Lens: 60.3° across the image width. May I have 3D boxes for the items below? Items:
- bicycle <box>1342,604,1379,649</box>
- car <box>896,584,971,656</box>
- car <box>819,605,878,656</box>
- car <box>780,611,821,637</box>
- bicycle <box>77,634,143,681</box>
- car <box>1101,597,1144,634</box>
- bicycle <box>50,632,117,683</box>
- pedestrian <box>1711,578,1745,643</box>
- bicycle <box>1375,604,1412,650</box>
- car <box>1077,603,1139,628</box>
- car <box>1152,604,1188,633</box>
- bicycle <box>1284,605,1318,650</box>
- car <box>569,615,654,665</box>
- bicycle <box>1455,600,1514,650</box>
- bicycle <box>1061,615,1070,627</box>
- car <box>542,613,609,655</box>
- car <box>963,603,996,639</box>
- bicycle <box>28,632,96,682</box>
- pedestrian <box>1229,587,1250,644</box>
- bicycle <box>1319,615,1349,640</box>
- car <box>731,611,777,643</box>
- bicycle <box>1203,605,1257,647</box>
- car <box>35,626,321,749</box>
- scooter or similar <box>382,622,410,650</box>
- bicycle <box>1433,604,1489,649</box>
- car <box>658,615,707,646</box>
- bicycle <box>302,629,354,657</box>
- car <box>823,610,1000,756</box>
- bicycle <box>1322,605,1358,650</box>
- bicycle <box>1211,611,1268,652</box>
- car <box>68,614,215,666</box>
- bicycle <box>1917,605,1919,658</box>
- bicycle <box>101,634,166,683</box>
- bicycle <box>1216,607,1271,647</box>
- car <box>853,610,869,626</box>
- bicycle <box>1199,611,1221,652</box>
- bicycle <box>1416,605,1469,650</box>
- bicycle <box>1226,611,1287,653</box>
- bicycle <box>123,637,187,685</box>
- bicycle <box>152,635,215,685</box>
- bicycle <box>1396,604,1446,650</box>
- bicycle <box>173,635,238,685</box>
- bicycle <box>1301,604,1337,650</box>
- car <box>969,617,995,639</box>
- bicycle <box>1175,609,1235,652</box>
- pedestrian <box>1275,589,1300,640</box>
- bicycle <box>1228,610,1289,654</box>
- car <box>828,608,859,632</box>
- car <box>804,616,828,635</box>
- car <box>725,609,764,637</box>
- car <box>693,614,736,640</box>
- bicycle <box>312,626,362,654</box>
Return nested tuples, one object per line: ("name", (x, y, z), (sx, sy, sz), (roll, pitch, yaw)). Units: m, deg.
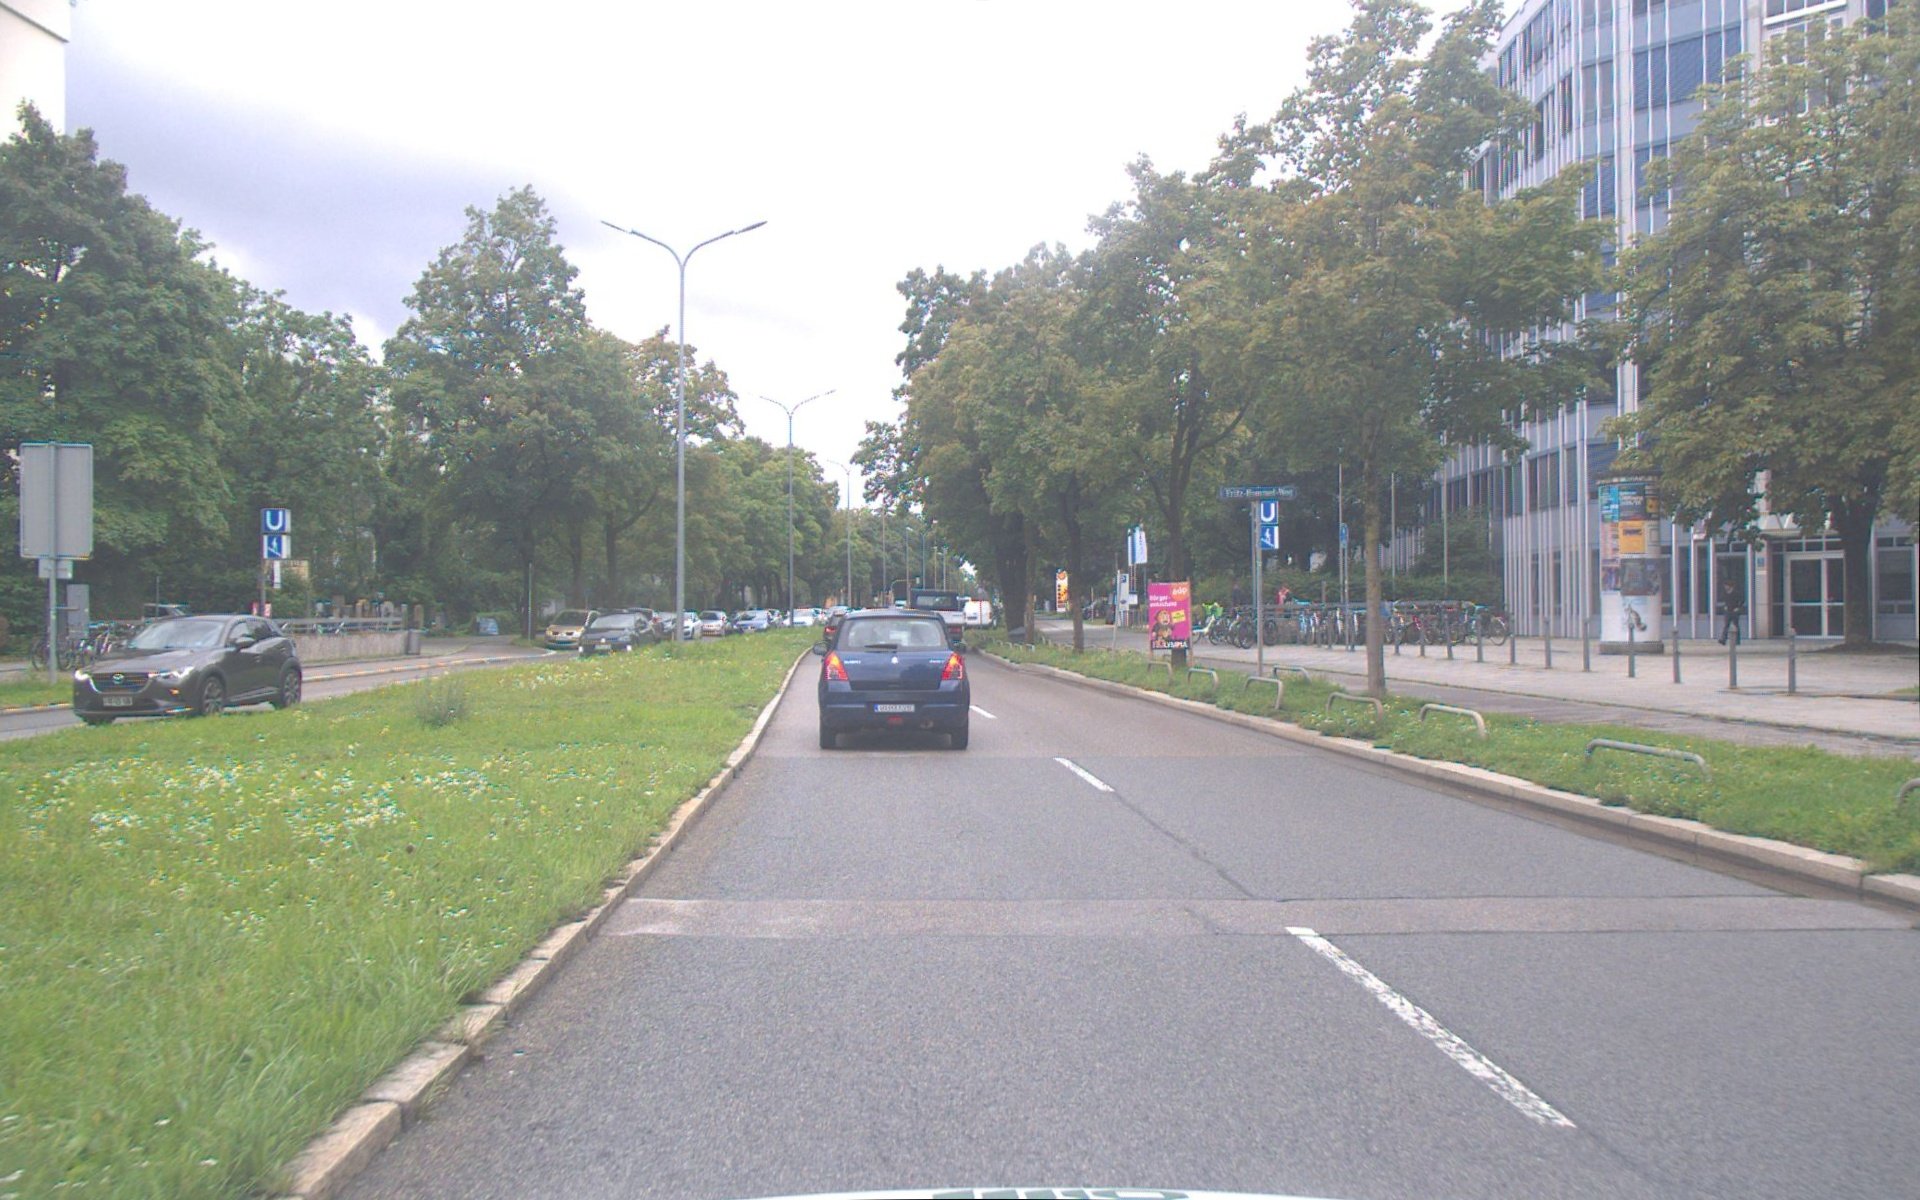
("bicycle", (11.068, 0.721, 45.753), (0.478, 1.210, 1.953), (-1, 0, -2))
("car", (-0.895, 0.724, 60.167), (2.368, 2.487, 5.088), (1, -1, 3))
("car", (-3.576, 0.952, 52.520), (1.764, 1.525, 3.656), (-1, 0, -5))
("car", (-9.430, 1.411, 98.178), (1.876, 1.510, 4.864), (-1, 0, 0))
("bicycle", (-20.287, 1.365, 39.504), (0.399, 1.048, 1.955), (3, 0, 4))
("car", (10.975, 1.060, 112.336), (2.218, 2.347, 6.267), (-1, -1, 0))
("bicycle", (-20.860, 1.351, 39.393), (0.399, 1.123, 1.955), (3, 0, 4))
("pedestrian", (21.636, 0.303, 46.590), (0.672, 1.804, 0.770), (-1, -1, 11))
("bicycle", (11.913, 0.733, 45.493), (0.436, 1.210, 1.953), (-1, 0, -2))
("car", (13.260, 1.412, 148.483), (5.357, 2.120, 2.147), (-1, -1, 0))
("car", (14.293, 1.253, 112.846), (1.804, 1.850, 4.471), (-1, -1, 0))
("bicycle", (9.397, 0.741, 45.628), (0.478, 1.210, 1.953), (-1, 0, -2))
("car", (-10.693, 1.198, 50.997), (1.746, 1.430, 4.101), (-1, 0, -1))
("bicycle", (14.493, 0.683, 45.758), (0.499, 1.317, 2.473), (-1, 0, -9))
("bicycle", (10.135, 2.017, 158.744), (0.733, 1.203, 2.247), (-1, -1, 1))
("car", (-15.451, 1.349, 66.701), (1.613, 1.642, 3.820), (1, 0, 3))
("car", (1.255, 1.333, 105.249), (1.946, 2.195, 5.556), (-1, -1, 2))
("bicycle", (-21.368, 1.349, 39.398), (0.399, 1.116, 1.955), (3, 0, 4))
("pedestrian", (9.652, 0.545, 57.071), (0.637, 1.933, 0.749), (-1, -1, 7))
("bicycle", (14.403, 1.057, 63.735), (0.669, 0.868, 1.833), (-1, 1, -3))
("car", (-9.845, 1.268, 79.185), (1.657, 1.427, 3.967), (-1, 0, 0))
("bicycle", (8.427, 0.803, 51.558), (1.940, 1.127, 0.571), (-6, 3, -44))
("car", (-10.970, 1.170, 23.592), (1.916, 1.506, 4.260), (-1, 0, 2))
("scooter or similar", (-23.336, 1.484, 68.456), (0.426, 1.146, 1.291), (-1, 0, 14))
("bicycle", (13.768, 0.728, 45.506), (0.566, 1.210, 2.137), (-1, 0, -9))
("car", (-14.775, 1.611, 88.298), (1.703, 1.556, 4.476), (1, 0, 2))
("bicycle", (-23.304, 1.584, 60.973), (1.726, 1.024, 0.436), (-1, -1, 1))
("car", (-0.551, 0.886, 19.201), (1.858, 1.525, 3.659), (0, -1, -2))
("bicycle", (10.476, 0.748, 45.677), (0.478, 1.210, 1.953), (-1, 0, -2))
("bicycle", (8.267, 0.923, 48.919), (1.940, 1.084, 0.571), (-4, 0, -44))
("car", (-26.700, 1.299, 54.013), (3.904, 1.617, 1.749), (-1, 0, 3))
("bicycle", (23.396, 0.737, 38.695), (0.595, 1.283, 2.052), (-1, 0, -7))
("bicycle", (-19.714, 1.374, 39.504), (0.399, 1.091, 1.955), (3, 0, 4))
("bicycle", (8.656, 0.826, 50.411), (1.940, 1.102, 0.587), (-4, 2, -44))
("car", (-11.731, 2.095, 196.141), (1.760, 1.794, 5.055), (-1, 0, -2))
("bicycle", (8.303, 1.035, 54.959), (0.519, 1.248, 1.863), (-3, 1, 5))
("bicycle", (13.148, 0.739, 45.082), (0.502, 1.210, 2.137), (-1, 0, -9))
("bicycle", (8.608, 0.910, 47.983), (2.025, 1.108, 0.595), (-2, -2, -44))
("bicycle", (-19.177, 1.439, 39.439), (0.399, 1.058, 1.955), (3, 0, 4))
("bicycle", (-18.518, 1.415, 39.470), (0.399, 1.097, 1.955), (3, 0, 4))
("bicycle", (12.592, 0.737, 45.252), (0.437, 1.210, 2.137), (-1, 0, -9))
("bicycle", (-18.000, 1.420, 39.504), (0.399, 1.108, 2.085), (3, 0, 4))
("bicycle", (9.906, 0.735, 45.664), (0.478, 1.210, 1.953), (-1, 0, -2))
("car", (1.490, 1.866, 111.215), (1.666, 1.422, 4.233), (-1, 0, 2))
("bicycle", (7.753, 0.954, 52.265), (1.931, 1.209, 0.590), (-4, 1, -33))
("pedestrian", (11.379, 0.485, 57.478), (0.766, 1.744, 0.751), (-1, -1, 8))
("bicycle", (8.391, 0.895, 46.490), (2.017, 1.118, 0.571), (-3, -1, -45))
("car", (-8.353, 1.441, 118.637), (1.729, 1.653, 4.377), (-1, -1, 1))
("car", (-12.970, 2.310, 149.339), (1.721, 1.623, 4.489), (2, 0, 0))
("car", (-12.096, 1.259, 93.088), (1.657, 1.510, 3.967), (-1, 0, 0))
("car", (-14.573, 1.596, 98.285), (1.700, 1.474, 4.823), (2, 0, 1))
("bicycle", (-23.525, 1.519, 62.475), (1.726, 1.024, 0.436), (-1, -1, 1))
